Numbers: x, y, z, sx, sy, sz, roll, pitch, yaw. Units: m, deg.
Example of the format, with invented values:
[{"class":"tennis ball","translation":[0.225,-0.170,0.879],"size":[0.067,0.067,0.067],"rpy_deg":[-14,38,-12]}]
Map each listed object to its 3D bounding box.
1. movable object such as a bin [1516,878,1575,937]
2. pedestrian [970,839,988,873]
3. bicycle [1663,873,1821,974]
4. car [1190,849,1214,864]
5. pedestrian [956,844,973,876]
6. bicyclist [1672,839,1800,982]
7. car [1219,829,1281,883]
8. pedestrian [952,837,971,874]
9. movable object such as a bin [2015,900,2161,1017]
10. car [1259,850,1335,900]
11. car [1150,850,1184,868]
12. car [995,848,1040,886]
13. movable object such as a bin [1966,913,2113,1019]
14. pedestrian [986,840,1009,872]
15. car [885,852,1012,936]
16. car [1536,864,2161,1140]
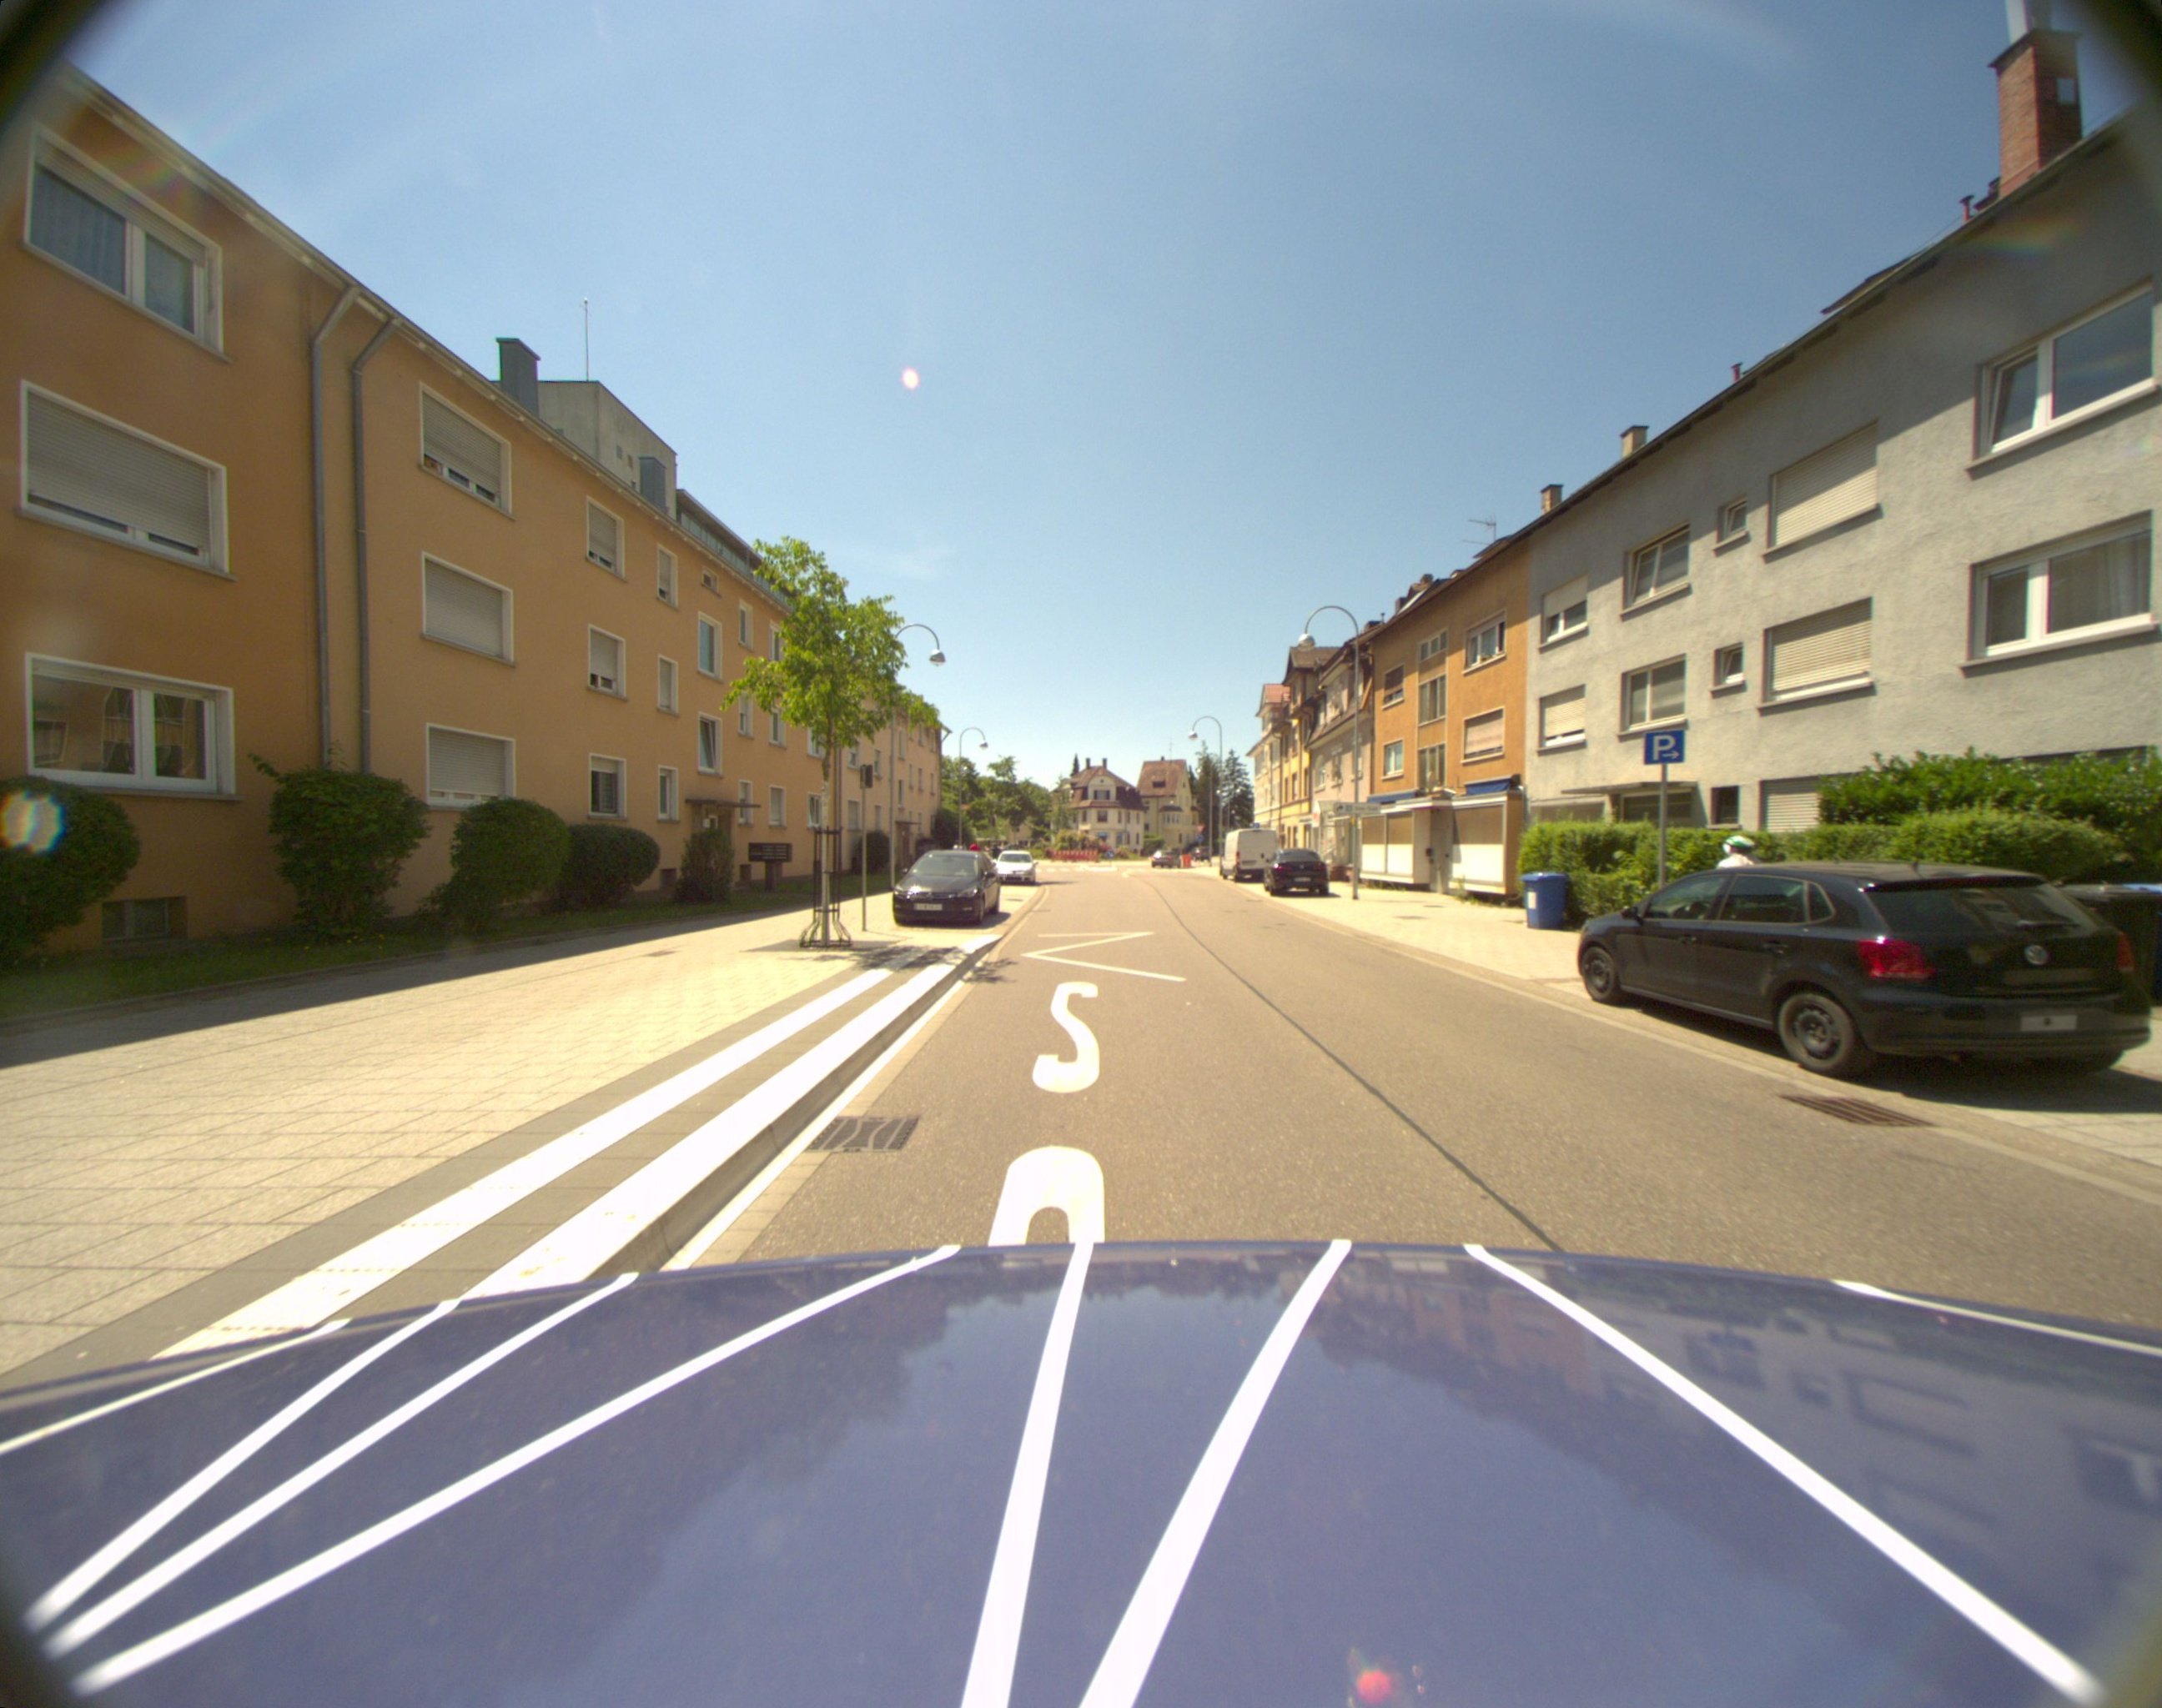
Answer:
[{"class":"movable object such as a bin","translation":[8.673,0.986,14.209],"size":[0.674,1.042,0.652],"rpy_deg":[1,1,0]},{"class":"pedestrian","translation":[-5.646,0.110,42.148],"size":[0.790,1.801,1.005],"rpy_deg":[3,1,-3]},{"class":"bicycle","translation":[7.932,0.794,9.210],"size":[0.558,1.078,1.513],"rpy_deg":[0,1,-1]},{"class":"car","translation":[13.262,0.221,83.474],"size":[1.800,1.481,4.388],"rpy_deg":[-1,2,0]},{"class":"pedestrian","translation":[-6.521,0.318,42.534],"size":[0.796,1.768,1.008],"rpy_deg":[0,1,-3]},{"class":"bicyclist","translation":[7.880,0.652,9.180],"size":[0.784,1.650,0.835],"rpy_deg":[0,1,-1]},{"class":"car","translation":[8.328,0.050,38.010],"size":[2.124,2.435,6.118],"rpy_deg":[-2,1,4]},{"class":"pedestrian","translation":[-6.067,0.090,38.600],"size":[0.822,1.843,0.984],"rpy_deg":[0,1,-3]},{"class":"movable object such as a bin","translation":[9.631,0.975,7.278],"size":[0.468,1.024,0.706],"rpy_deg":[1,1,1]},{"class":"car","translation":[7.510,0.668,26.892],"size":[2.089,1.605,5.112],"rpy_deg":[-1,0,10]},{"class":"car","translation":[7.191,0.394,63.267],"size":[1.732,1.403,4.007],"rpy_deg":[2,0,23]},{"class":"car","translation":[-2.743,0.509,33.491],"size":[1.818,1.468,4.504],"rpy_deg":[1,1,-3]},{"class":"movable object such as a bin","translation":[9.159,1.051,7.286],"size":[0.495,0.906,0.706],"rpy_deg":[1,1,1]},{"class":"pedestrian","translation":[-4.661,0.090,42.604],"size":[1.174,1.723,1.190],"rpy_deg":[3,2,-4]},{"class":"car","translation":[-2.742,0.739,16.887],"size":[1.838,1.495,5.063],"rpy_deg":[2,1,1]},{"class":"car","translation":[5.862,0.882,6.388],"size":[1.791,1.450,4.199],"rpy_deg":[-3,0,5]}]
